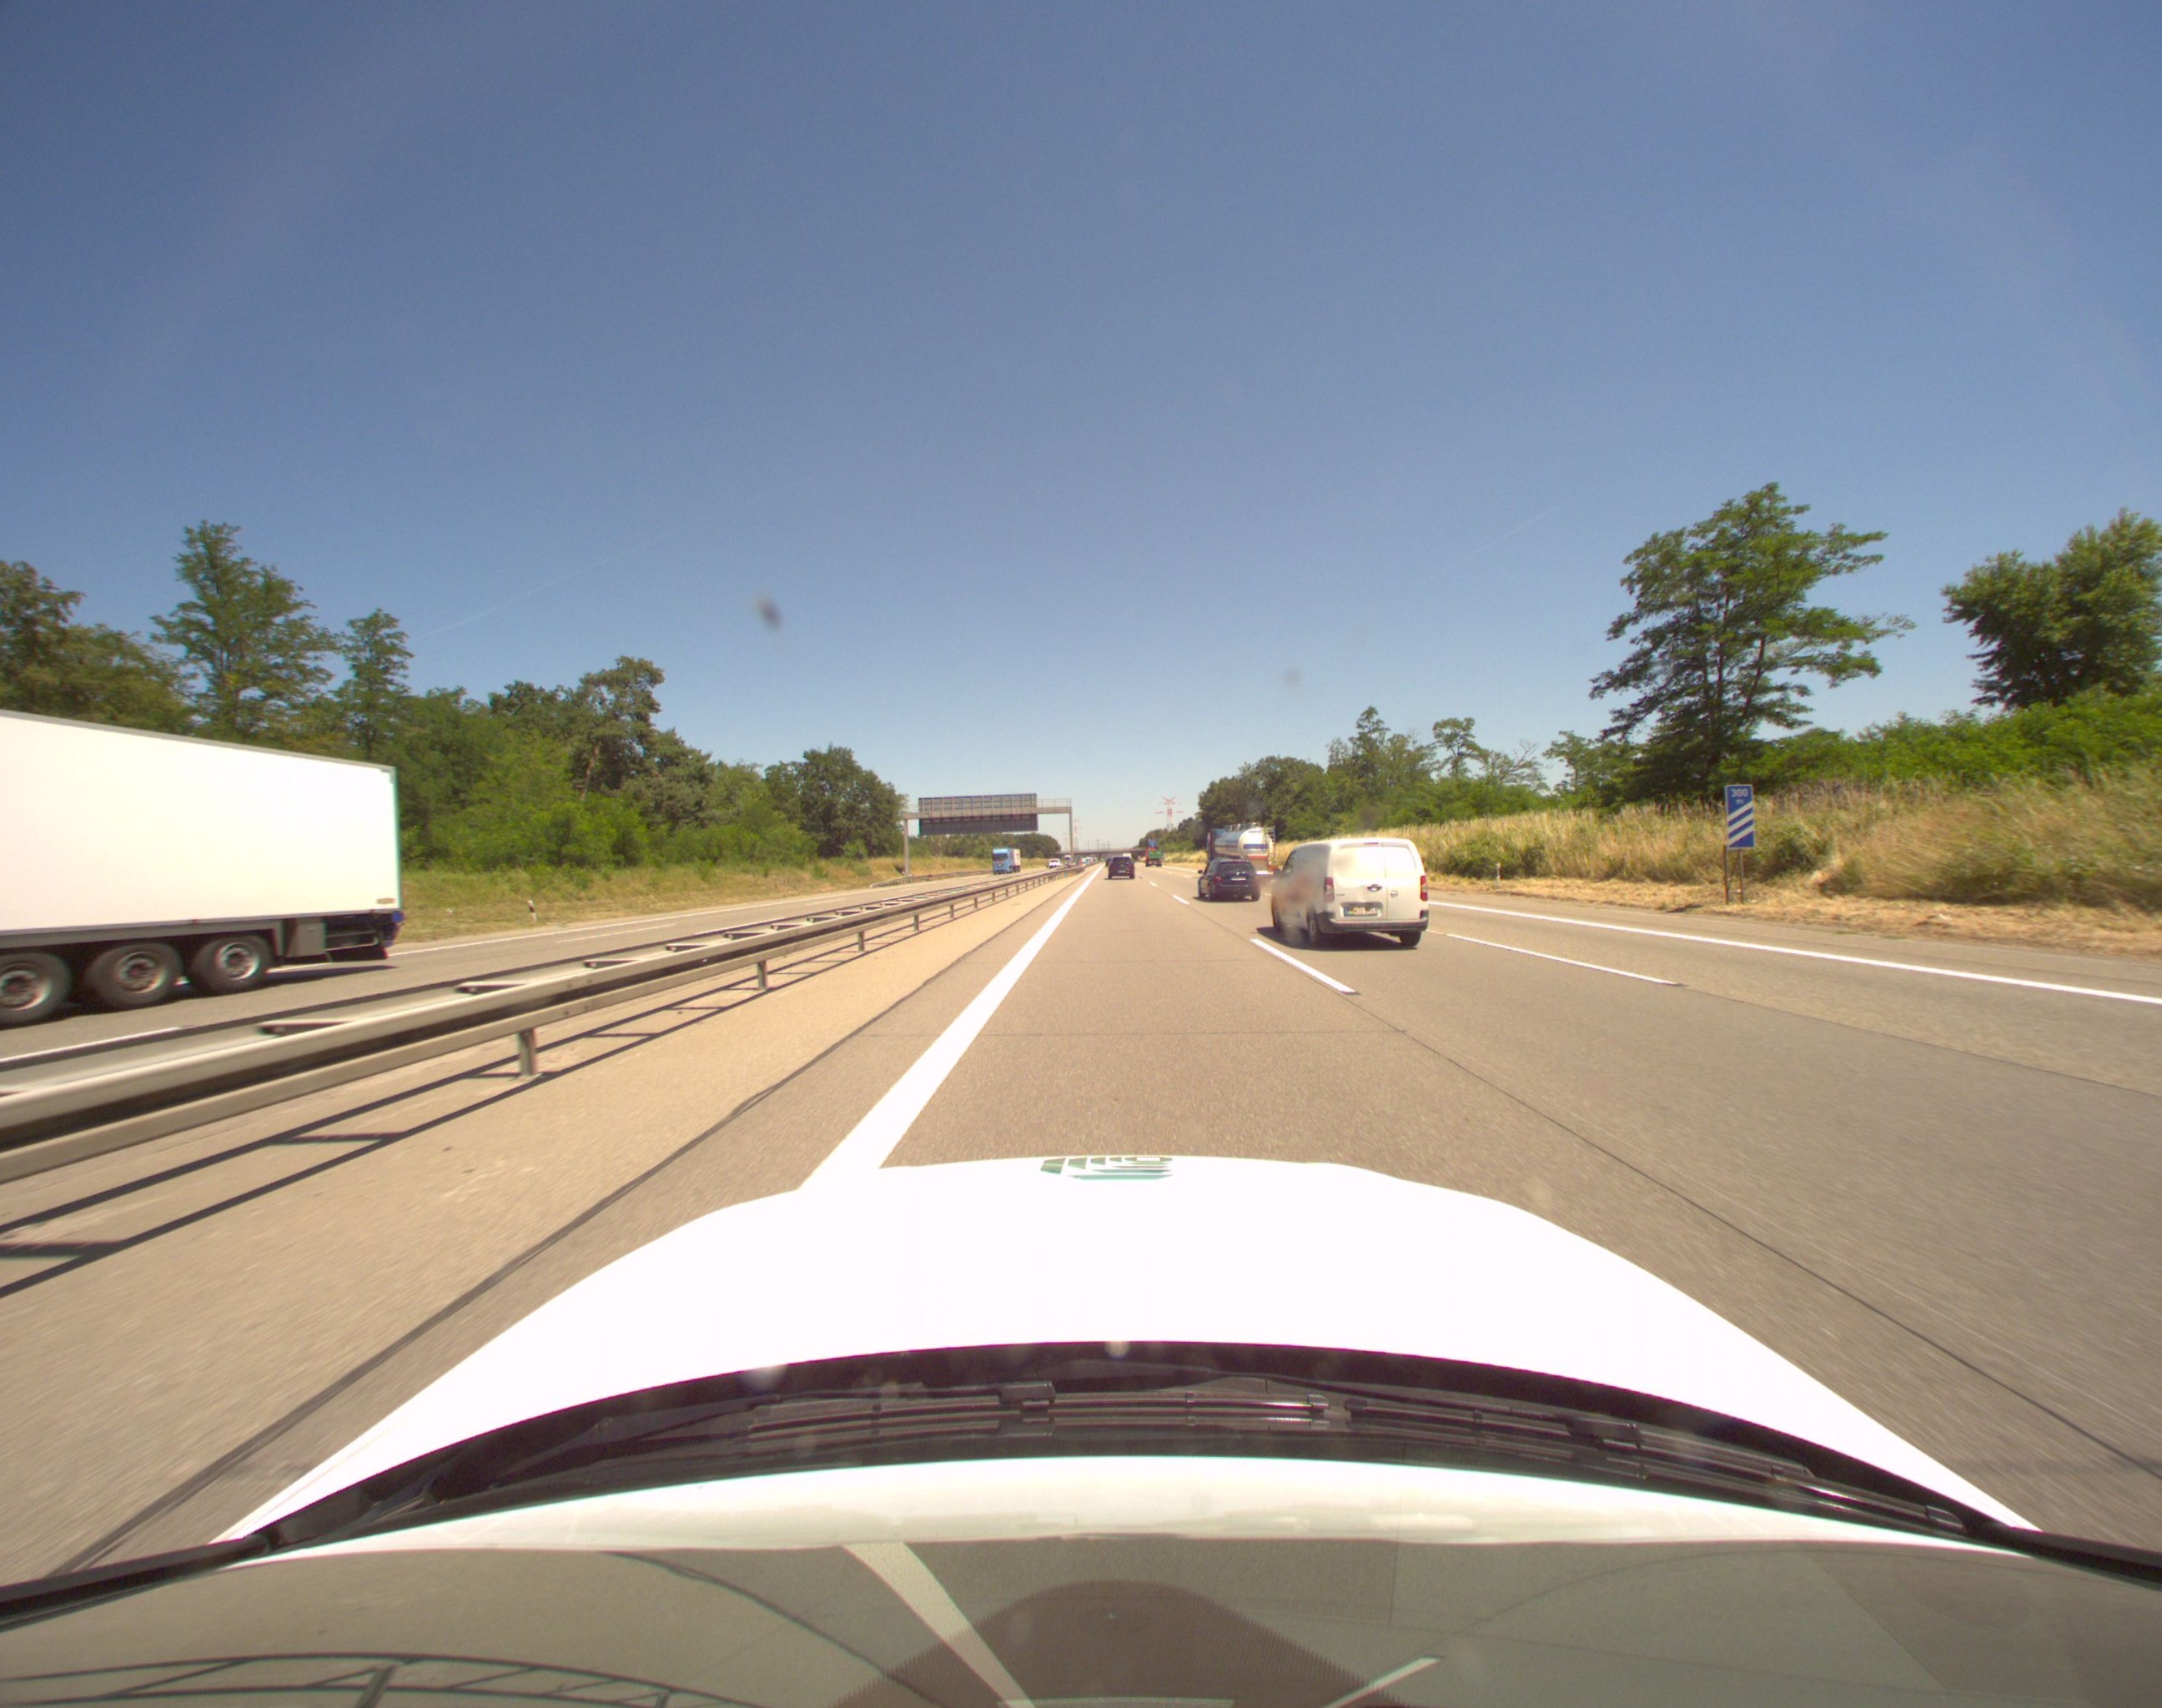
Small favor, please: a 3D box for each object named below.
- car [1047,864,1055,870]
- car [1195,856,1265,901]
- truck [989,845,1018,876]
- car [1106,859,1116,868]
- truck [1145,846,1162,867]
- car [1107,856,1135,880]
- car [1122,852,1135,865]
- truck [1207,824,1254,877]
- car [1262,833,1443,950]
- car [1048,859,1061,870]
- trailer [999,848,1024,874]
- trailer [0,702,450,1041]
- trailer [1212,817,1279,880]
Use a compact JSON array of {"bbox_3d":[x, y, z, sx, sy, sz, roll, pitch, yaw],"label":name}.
[{"bbox_3d":[-8.696,3.664,233.982,1.825,1.554,4.951,-3,-1,1],"label":"car"},{"bbox_3d":[5.253,0.840,29.183,1.795,1.483,4.273,0,-1,1],"label":"car"},{"bbox_3d":[-12.372,1.053,130.857,3.046,4.558,10.463,-3,0,2],"label":"truck"},{"bbox_3d":[5.576,1.748,149.623,1.787,1.750,4.001,0,-1,2],"label":"car"},{"bbox_3d":[13.828,0.539,156.306,2.670,3.798,12.484,0,0,2],"label":"truck"},{"bbox_3d":[2.956,1.052,61.210,1.986,1.750,4.001,0,-1,2],"label":"car"},{"bbox_3d":[10.537,1.072,181.165,2.611,2.759,6.099,0,-1,2],"label":"car"},{"bbox_3d":[10.992,-0.246,60.350,2.519,3.734,6.101,0,-1,2],"label":"truck"},{"bbox_3d":[4.780,0.600,15.179,1.859,1.817,4.943,0,-1,2],"label":"car"},{"bbox_3d":[-4.543,1.850,141.404,1.825,1.854,5.238,-3,-1,1],"label":"car"},{"bbox_3d":[-12.020,1.144,141.318,3.046,4.283,8.639,-2,0,2],"label":"trailer"},{"bbox_3d":[-15.078,0.330,10.006,3.518,4.184,13.609,-5,-1,1],"label":"trailer"},{"bbox_3d":[10.790,-0.291,54.561,2.519,3.734,11.553,0,0,2],"label":"trailer"}]
